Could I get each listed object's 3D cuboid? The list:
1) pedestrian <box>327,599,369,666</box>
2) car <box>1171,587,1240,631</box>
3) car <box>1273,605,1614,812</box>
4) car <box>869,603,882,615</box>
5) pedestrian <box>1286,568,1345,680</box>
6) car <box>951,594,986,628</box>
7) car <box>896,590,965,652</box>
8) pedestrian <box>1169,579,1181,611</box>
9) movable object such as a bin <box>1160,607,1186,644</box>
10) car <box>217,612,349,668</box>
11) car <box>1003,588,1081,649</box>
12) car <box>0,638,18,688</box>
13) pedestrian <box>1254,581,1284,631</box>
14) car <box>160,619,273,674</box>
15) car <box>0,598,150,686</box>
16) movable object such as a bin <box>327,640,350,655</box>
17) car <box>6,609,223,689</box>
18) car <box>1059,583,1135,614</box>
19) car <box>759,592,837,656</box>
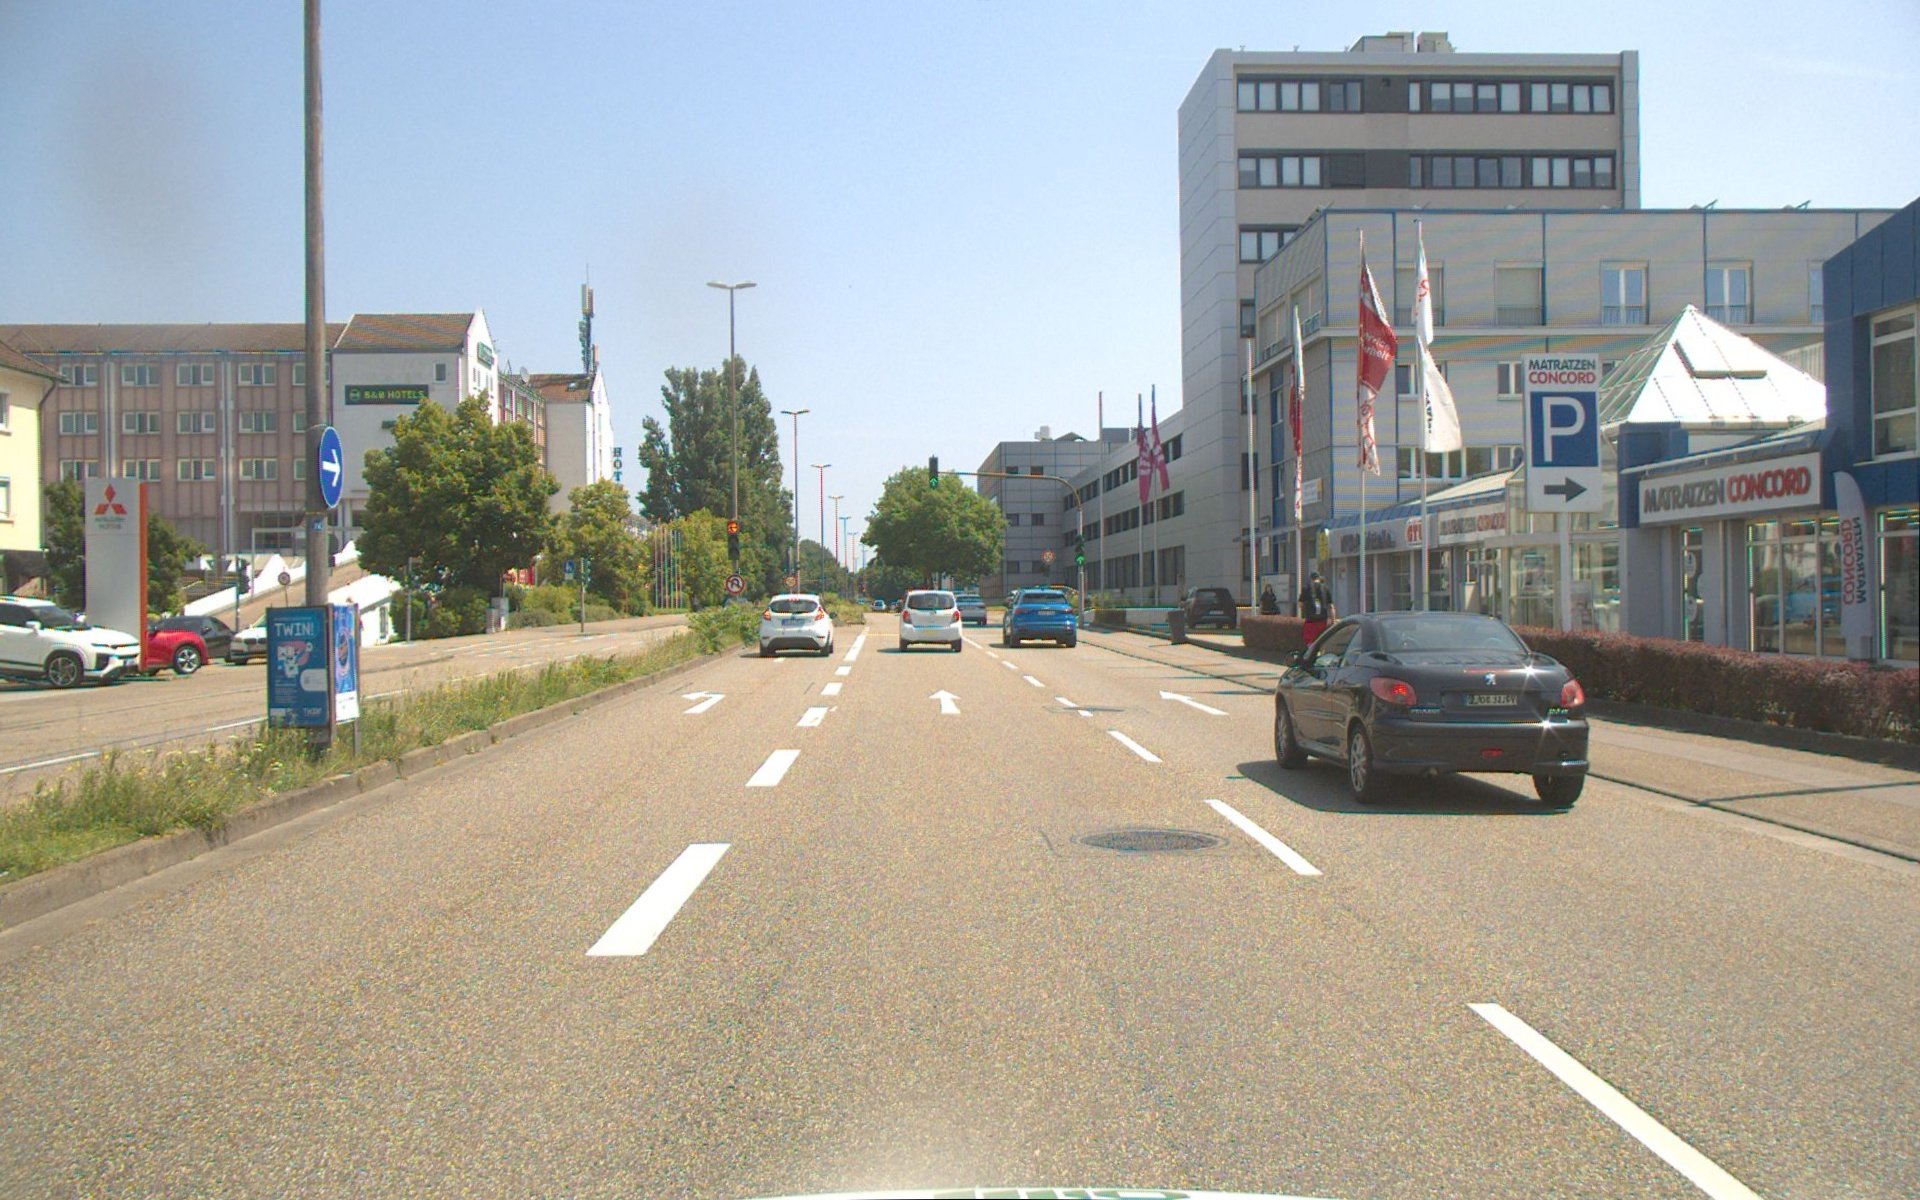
[{"bbox_3d":[-16.571,0.862,44.809,0.725,1.777,1.033,-1,0,0],"label":"pedestrian"},{"bbox_3d":[9.212,0.325,62.285,1.807,1.558,4.194,0,0,-3],"label":"car"},{"bbox_3d":[3.673,0.751,13.183,1.594,1.388,3.604,0,0,-1],"label":"car"},{"bbox_3d":[-12.095,1.316,237.900,1.783,1.691,3.997,-1,0,-4],"label":"car"},{"bbox_3d":[6.094,0.406,28.397,0.769,1.879,0.936,-1,0,0],"label":"pedestrian"},{"bbox_3d":[0.391,0.491,77.214,1.527,1.546,3.605,-1,0,0],"label":"car"},{"bbox_3d":[-0.783,0.517,43.262,1.713,1.546,3.744,0,0,-1],"label":"car"},{"bbox_3d":[11.623,-0.275,89.285,0.580,1.663,0.523,-2,0,5],"label":"pedestrian"},{"bbox_3d":[5.664,0.687,44.008,0.540,0.935,0.652,-4,0,-2],"label":"movable object such as a bin"},{"bbox_3d":[-19.122,1.092,46.933,1.739,1.435,4.759,-1,0,0],"label":"car"},{"bbox_3d":[2.267,0.484,46.515,1.791,1.608,3.603,-1,0,-3],"label":"car"},{"bbox_3d":[-25.782,1.656,41.159,1.611,1.274,4.002,-2,0,18],"label":"car"},{"bbox_3d":[10.350,0.194,55.428,0.793,1.655,0.853,-1,0,0],"label":"pedestrian"},{"bbox_3d":[-21.212,1.299,47.341,1.699,1.375,3.996,-1,0,-5],"label":"car"},{"bbox_3d":[-19.597,0.881,34.503,4.457,1.739,1.758,-1,0,-4],"label":"car"},{"bbox_3d":[-16.655,1.271,44.335,0.408,0.378,0.506,-1,0,-1],"label":"movable object such as a bin"},{"bbox_3d":[-19.729,1.099,38.736,1.803,1.671,4.164,-1,0,35],"label":"car"},{"bbox_3d":[8.080,-0.109,97.737,4.178,1.718,1.997,-1,0,-8],"label":"car"},{"bbox_3d":[-3.909,0.543,40.357,1.655,1.459,3.709,-1,0,-2],"label":"car"}]
